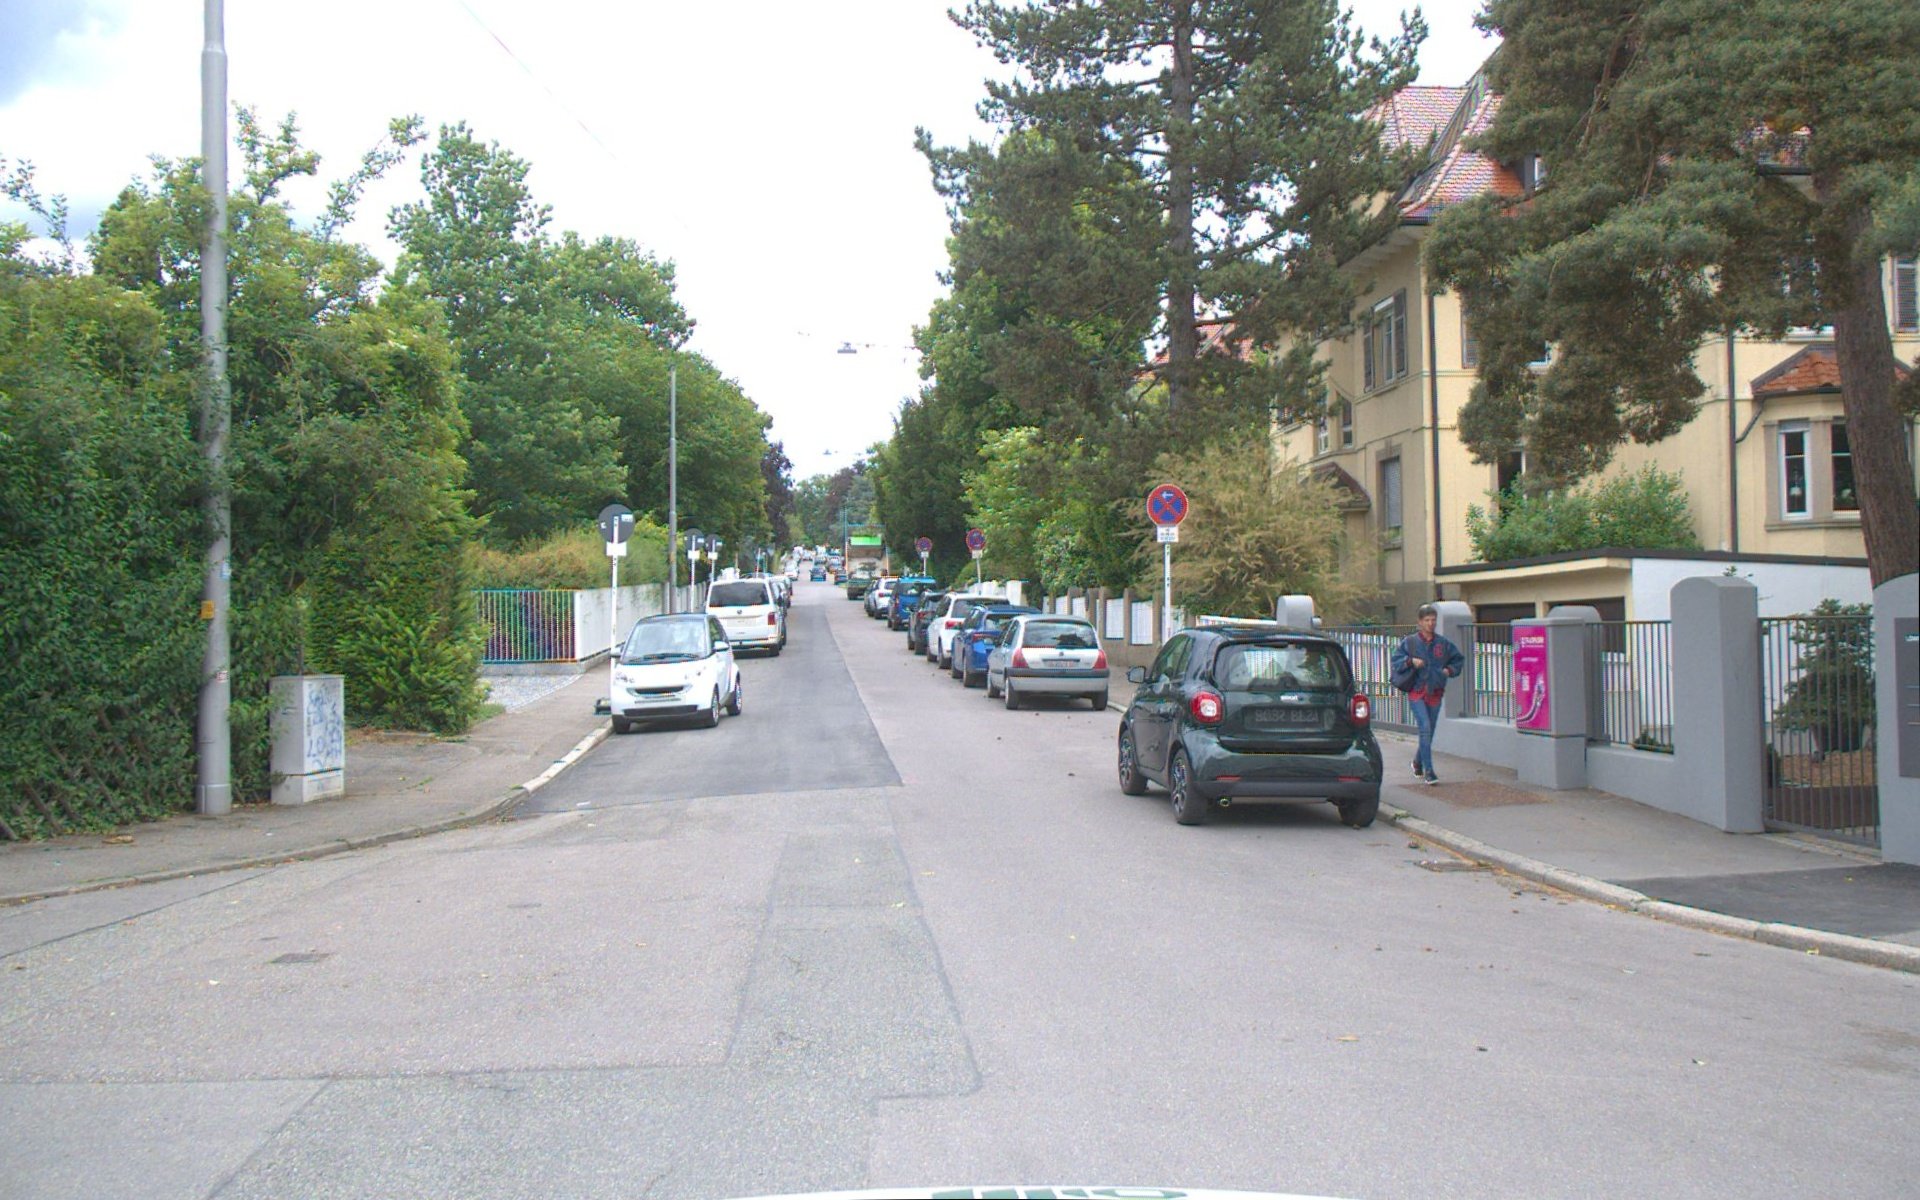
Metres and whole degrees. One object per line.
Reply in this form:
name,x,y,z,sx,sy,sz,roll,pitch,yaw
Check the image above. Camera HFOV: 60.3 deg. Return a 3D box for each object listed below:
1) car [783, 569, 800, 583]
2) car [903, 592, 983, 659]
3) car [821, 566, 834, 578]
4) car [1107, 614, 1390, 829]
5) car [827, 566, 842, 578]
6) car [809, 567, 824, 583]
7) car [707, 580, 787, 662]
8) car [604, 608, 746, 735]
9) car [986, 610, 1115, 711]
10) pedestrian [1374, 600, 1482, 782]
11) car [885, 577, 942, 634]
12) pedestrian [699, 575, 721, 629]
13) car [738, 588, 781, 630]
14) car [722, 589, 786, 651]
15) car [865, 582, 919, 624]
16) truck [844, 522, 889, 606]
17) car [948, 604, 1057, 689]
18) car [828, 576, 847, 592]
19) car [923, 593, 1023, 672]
car,-19.189,-2.709,188.064,1.677,1.613,3.998,0,1,-3
car,-0.494,0.622,43.392,1.716,1.636,4.071,2,0,-6
car,-17.653,-3.755,220.815,1.754,1.556,3.731,0,1,-4
car,2.349,0.952,14.100,1.542,1.558,2.863,2,0,-8
car,-16.068,-3.624,212.022,1.775,1.359,3.628,1,2,-6
car,-15.868,-2.816,182.888,1.602,1.731,3.490,0,1,-6
car,-5.530,0.504,43.355,1.818,1.946,4.614,-3,1,-5
car,-4.050,0.980,23.867,1.413,1.579,2.770,-3,1,1
car,1.384,0.922,26.555,1.543,1.425,3.652,1,0,-5
pedestrian,4.323,0.827,15.324,0.667,1.604,0.906,-3,-1,0
car,-1.666,0.147,58.128,1.650,1.861,4.152,2,1,-6
pedestrian,-9.604,0.065,63.526,0.796,2.049,0.859,0,1,-5
car,-8.228,0.354,67.613,1.592,1.560,2.957,-3,1,-9
car,-6.148,0.553,49.213,1.757,1.651,4.336,-2,1,-8
car,-2.858,0.110,68.829,1.725,1.634,4.566,1,1,-9
truck,-5.692,-2.120,99.343,2.475,4.831,7.180,1,1,-5
car,0.750,0.839,31.545,1.615,1.484,4.047,1,0,-5
car,-12.471,-1.642,168.557,1.745,1.515,3.995,0,1,-6
car,0.229,0.697,37.890,1.751,1.631,4.298,1,1,-7
